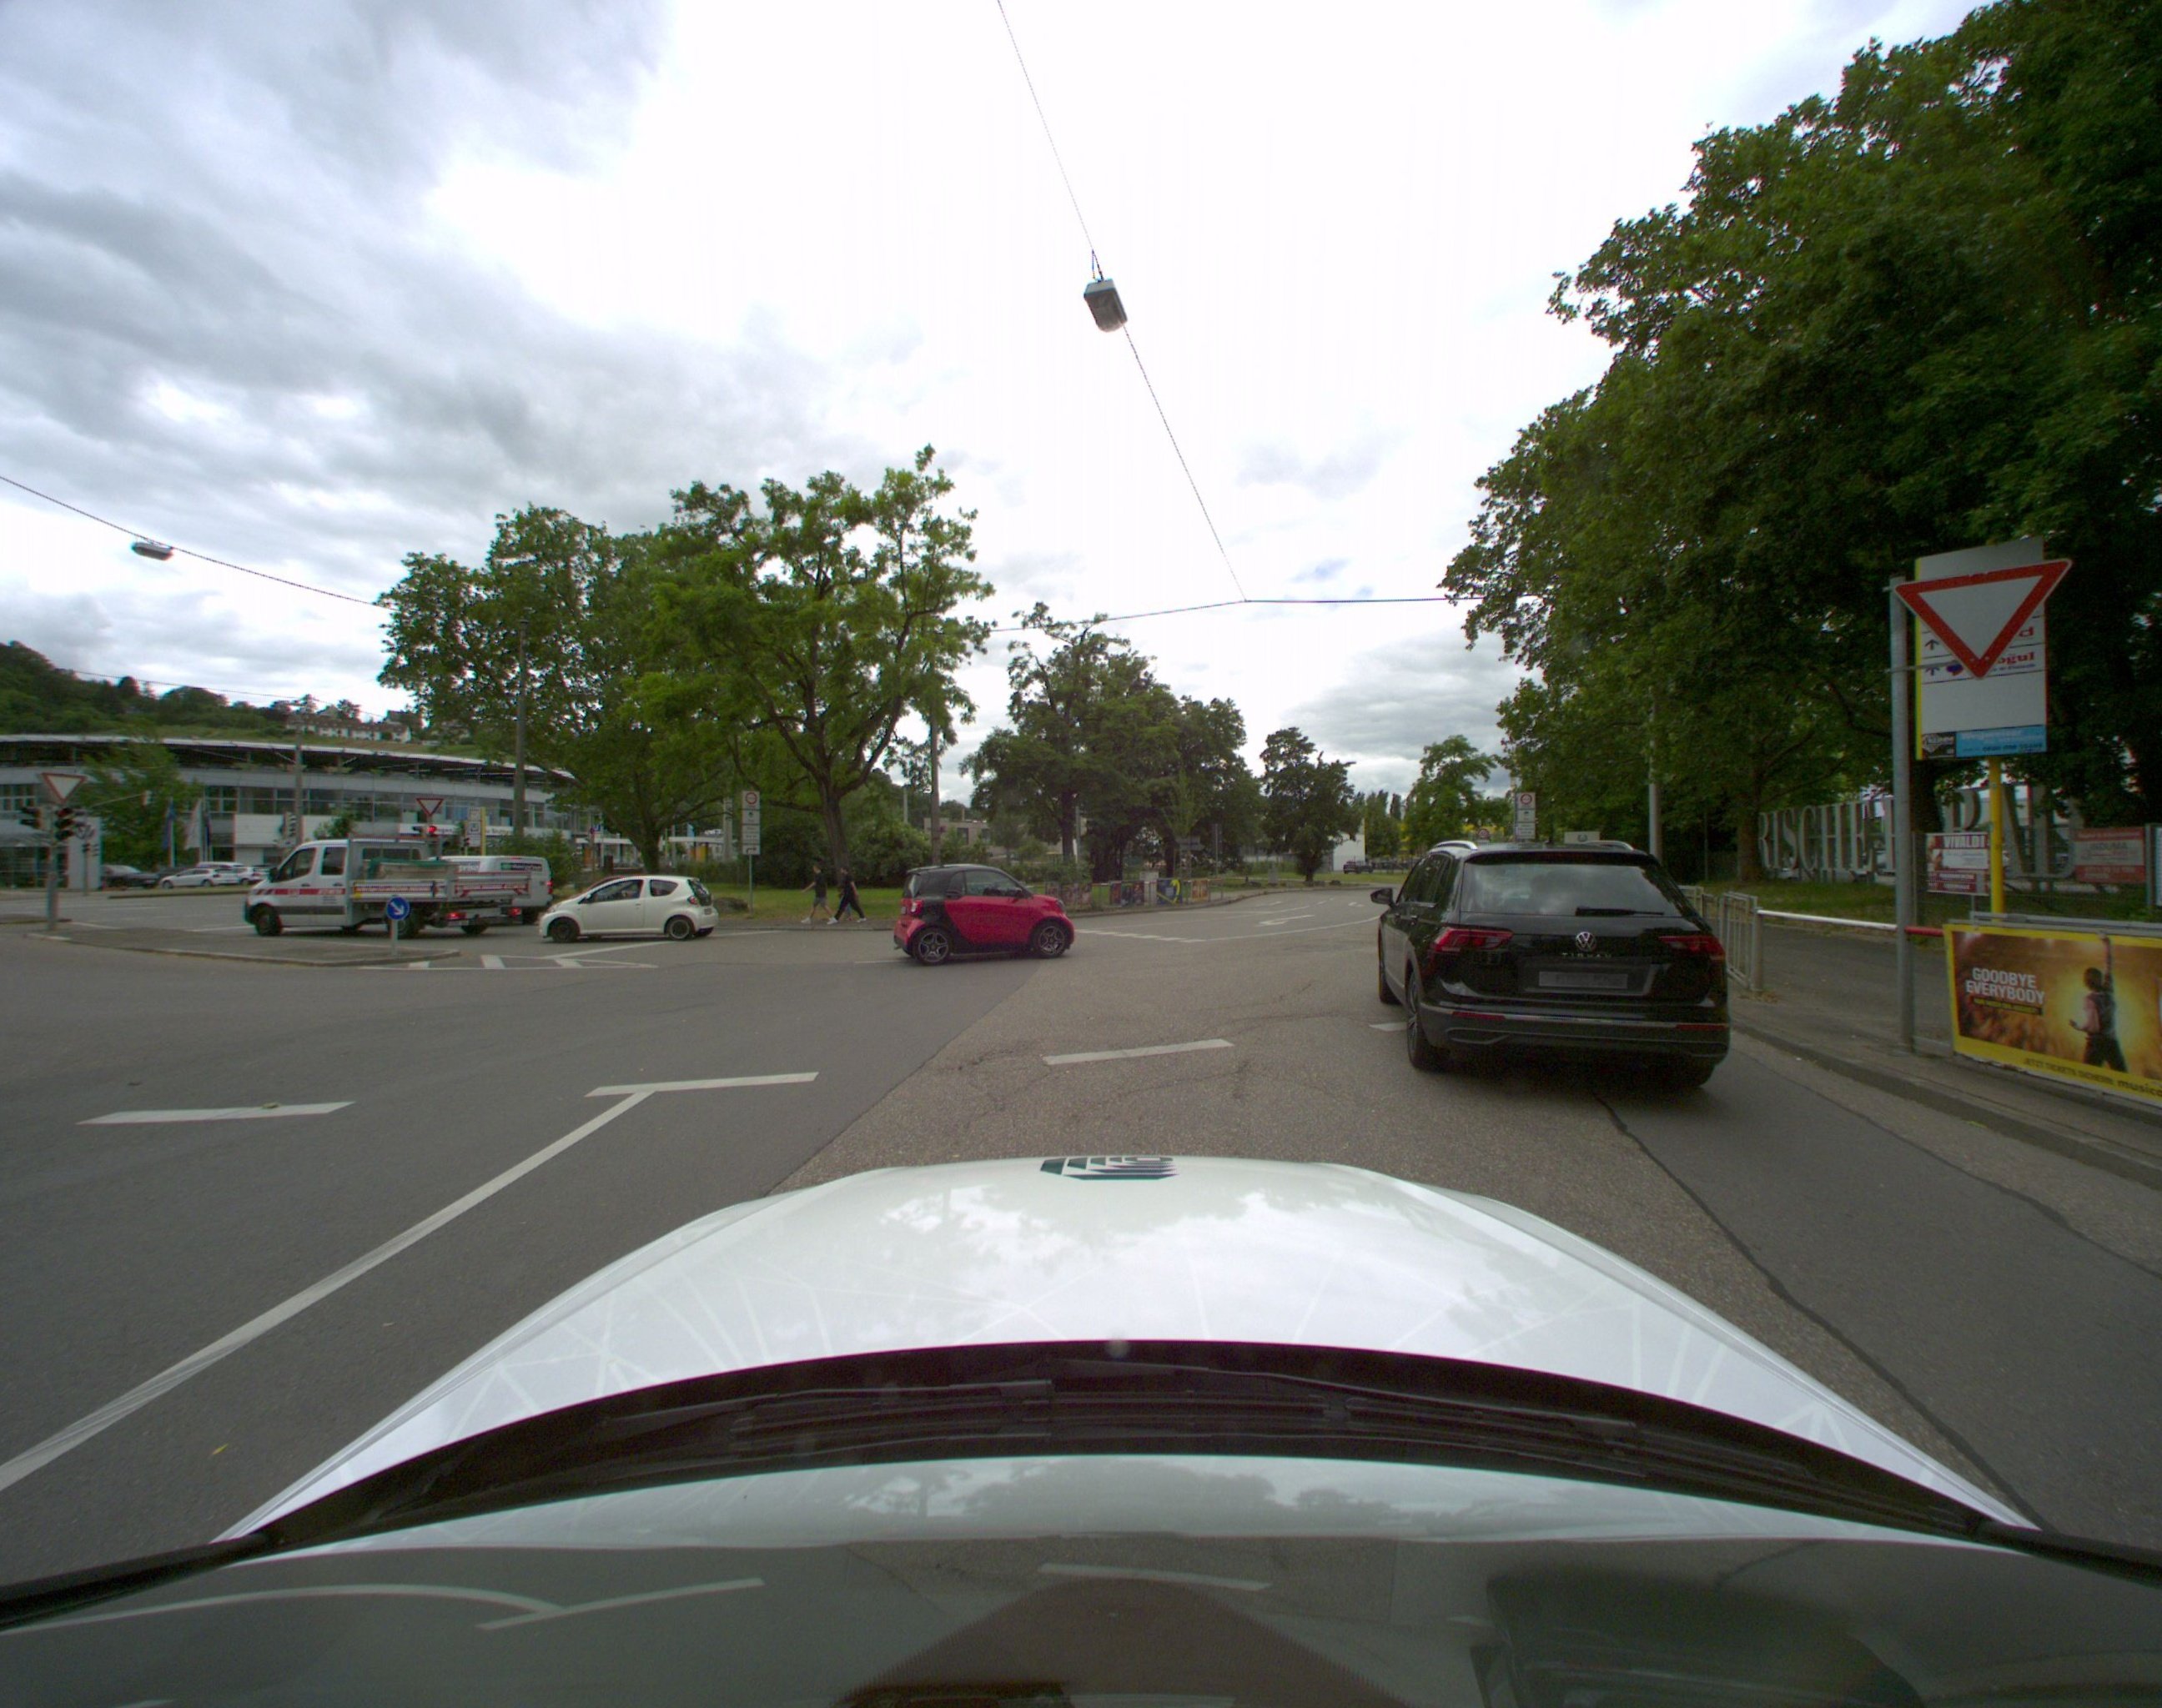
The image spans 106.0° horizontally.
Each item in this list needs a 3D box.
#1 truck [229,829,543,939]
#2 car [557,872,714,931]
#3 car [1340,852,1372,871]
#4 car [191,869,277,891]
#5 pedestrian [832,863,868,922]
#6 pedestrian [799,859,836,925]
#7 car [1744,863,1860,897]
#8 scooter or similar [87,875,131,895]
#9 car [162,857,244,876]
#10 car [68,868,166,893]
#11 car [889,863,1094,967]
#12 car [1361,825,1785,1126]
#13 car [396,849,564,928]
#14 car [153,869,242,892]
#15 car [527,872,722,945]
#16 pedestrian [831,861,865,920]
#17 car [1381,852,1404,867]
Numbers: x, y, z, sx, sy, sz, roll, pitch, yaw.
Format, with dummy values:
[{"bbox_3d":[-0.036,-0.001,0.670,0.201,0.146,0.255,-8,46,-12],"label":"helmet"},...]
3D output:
[{"bbox_3d":[-16.497,0.692,19.484,5.971,2.397,2.437,-1,0,10],"label":"truck"},{"bbox_3d":[-11.793,1.239,21.654,3.396,1.457,1.650,-1,-1,12],"label":"car"},{"bbox_3d":[30.055,0.753,88.946,1.945,2.013,4.245,0,0,38],"label":"car"},{"bbox_3d":[-62.224,1.878,59.876,4.193,1.492,1.793,-1,0,-5],"label":"car"},{"bbox_3d":[-6.832,1.133,24.112,0.782,1.714,0.696,-1,0,5],"label":"pedestrian"},{"bbox_3d":[-7.609,1.086,23.574,0.782,1.857,0.696,-1,0,5],"label":"pedestrian"},{"bbox_3d":[32.948,1.180,37.331,3.688,1.505,1.488,-1,0,19],"label":"car"},{"bbox_3d":[-60.626,1.925,50.811,0.461,1.178,1.684,-1,0,31],"label":"scooter or similar"},{"bbox_3d":[-71.921,1.016,66.772,4.216,1.492,1.784,-1,0,-21],"label":"car"},{"bbox_3d":[-62.603,1.720,52.928,3.868,1.501,1.770,-1,0,-9],"label":"car"},{"bbox_3d":[-1.500,0.911,13.371,3.021,1.464,1.705,-1,0,-21],"label":"car"},{"bbox_3d":[3.454,0.639,6.682,1.831,1.635,4.202,1,0,14],"label":"car"},{"bbox_3d":[-17.428,0.937,23.593,4.701,2.107,2.008,-1,0,27],"label":"car"},{"bbox_3d":[-62.424,1.859,57.588,4.005,1.501,1.771,-1,0,-7],"label":"car"},{"bbox_3d":[-10.091,1.179,18.233,3.417,1.432,1.640,-1,0,-8],"label":"car"},{"bbox_3d":[-7.095,1.097,24.829,0.782,1.740,0.696,-1,0,5],"label":"pedestrian"},{"bbox_3d":[44.648,0.780,116.798,1.945,2.013,4.245,0,0,38],"label":"car"}]
